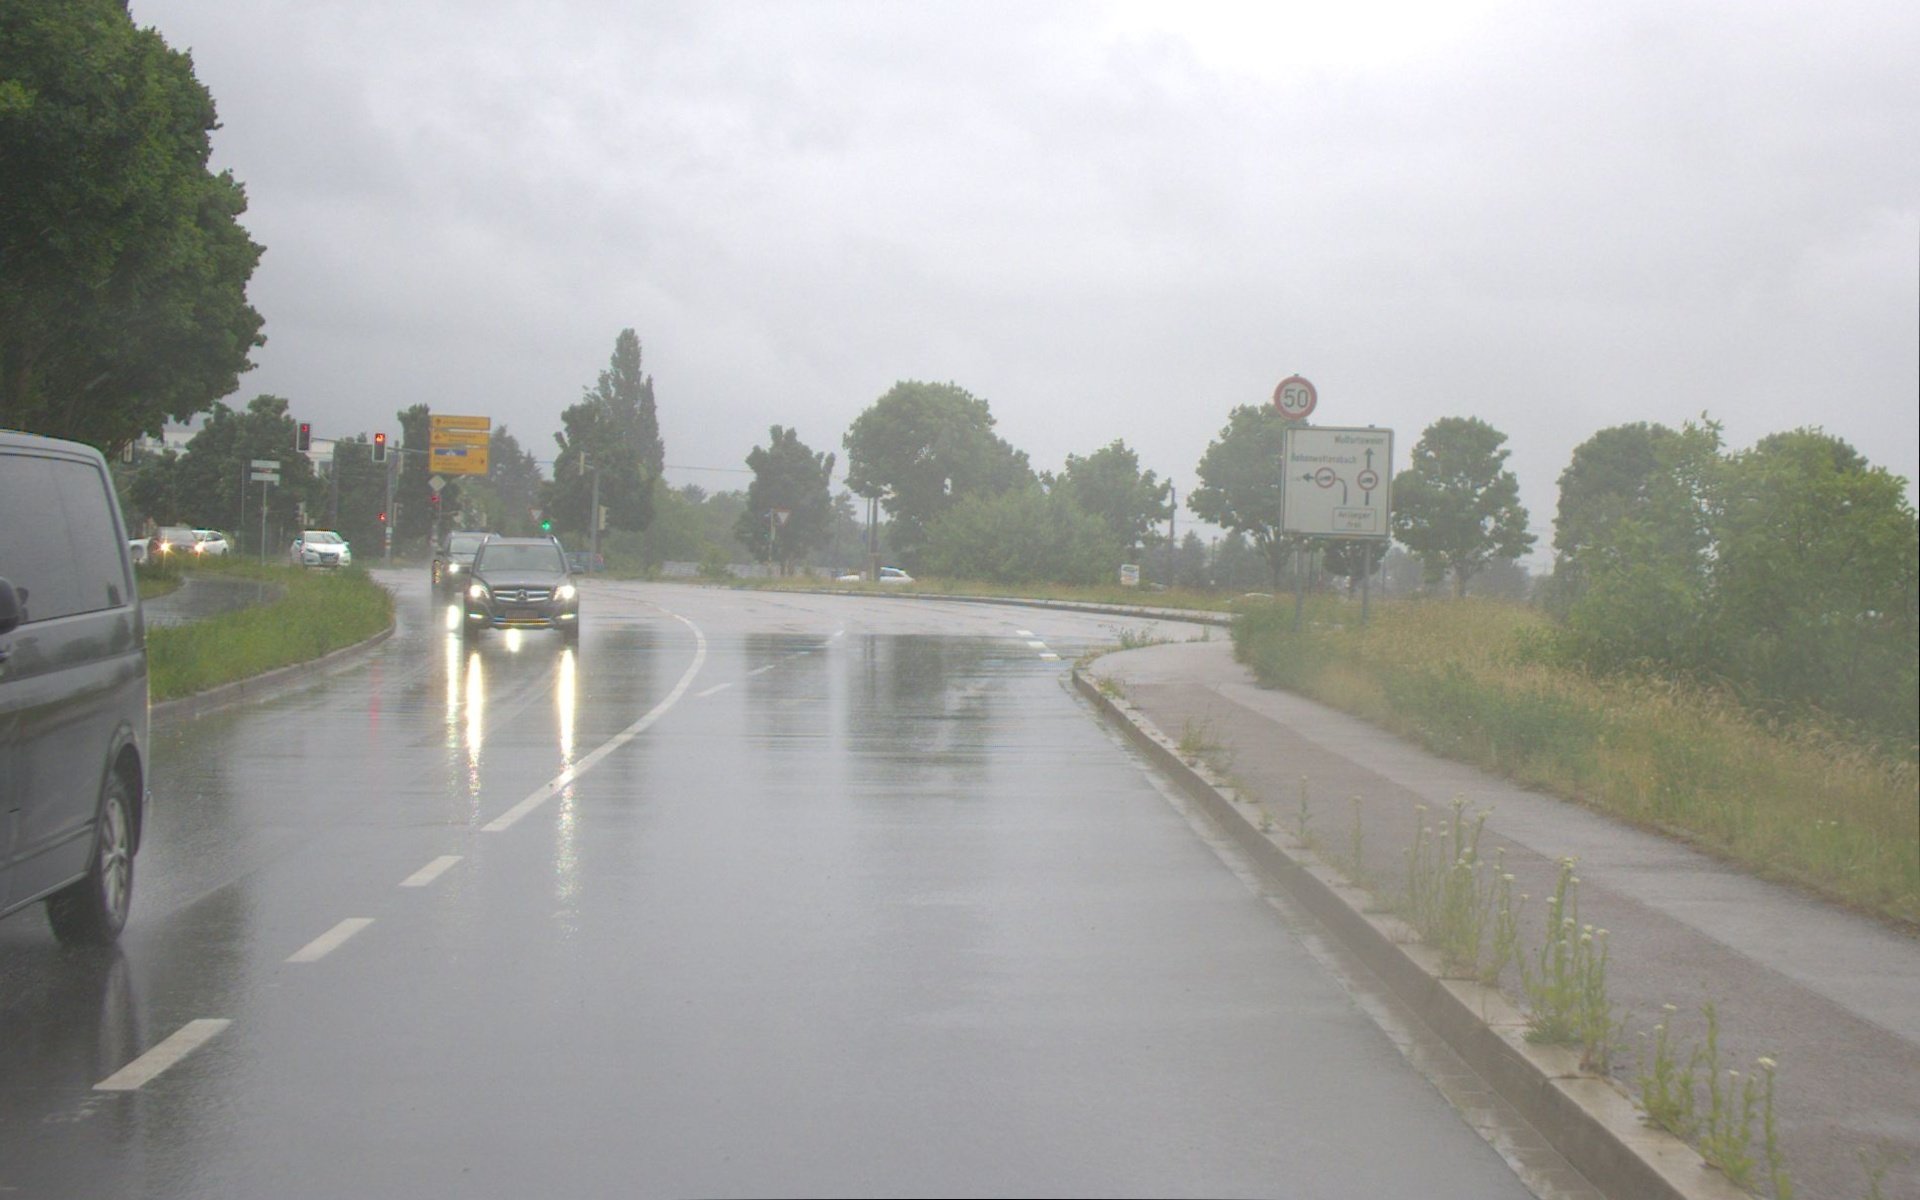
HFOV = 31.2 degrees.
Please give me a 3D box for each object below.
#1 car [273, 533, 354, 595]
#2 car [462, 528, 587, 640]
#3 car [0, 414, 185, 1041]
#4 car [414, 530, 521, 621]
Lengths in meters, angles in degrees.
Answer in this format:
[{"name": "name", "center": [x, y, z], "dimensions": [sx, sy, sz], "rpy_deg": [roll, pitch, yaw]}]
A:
[{"name": "car", "center": [-23.853, -1.353, 126.762], "dimensions": [1.993, 2.007, 4.001], "rpy_deg": [5, 1, -23]}, {"name": "car", "center": [-7.070, -0.287, 55.566], "dimensions": [1.904, 1.715, 4.001], "rpy_deg": [-1, 1, -8]}, {"name": "car", "center": [-4.018, 0.387, 11.249], "dimensions": [1.993, 1.966, 4.957], "rpy_deg": [0, 1, -2]}, {"name": "car", "center": [-12.286, -0.630, 85.578], "dimensions": [1.993, 2.007, 4.002], "rpy_deg": [5, 1, -15]}]
